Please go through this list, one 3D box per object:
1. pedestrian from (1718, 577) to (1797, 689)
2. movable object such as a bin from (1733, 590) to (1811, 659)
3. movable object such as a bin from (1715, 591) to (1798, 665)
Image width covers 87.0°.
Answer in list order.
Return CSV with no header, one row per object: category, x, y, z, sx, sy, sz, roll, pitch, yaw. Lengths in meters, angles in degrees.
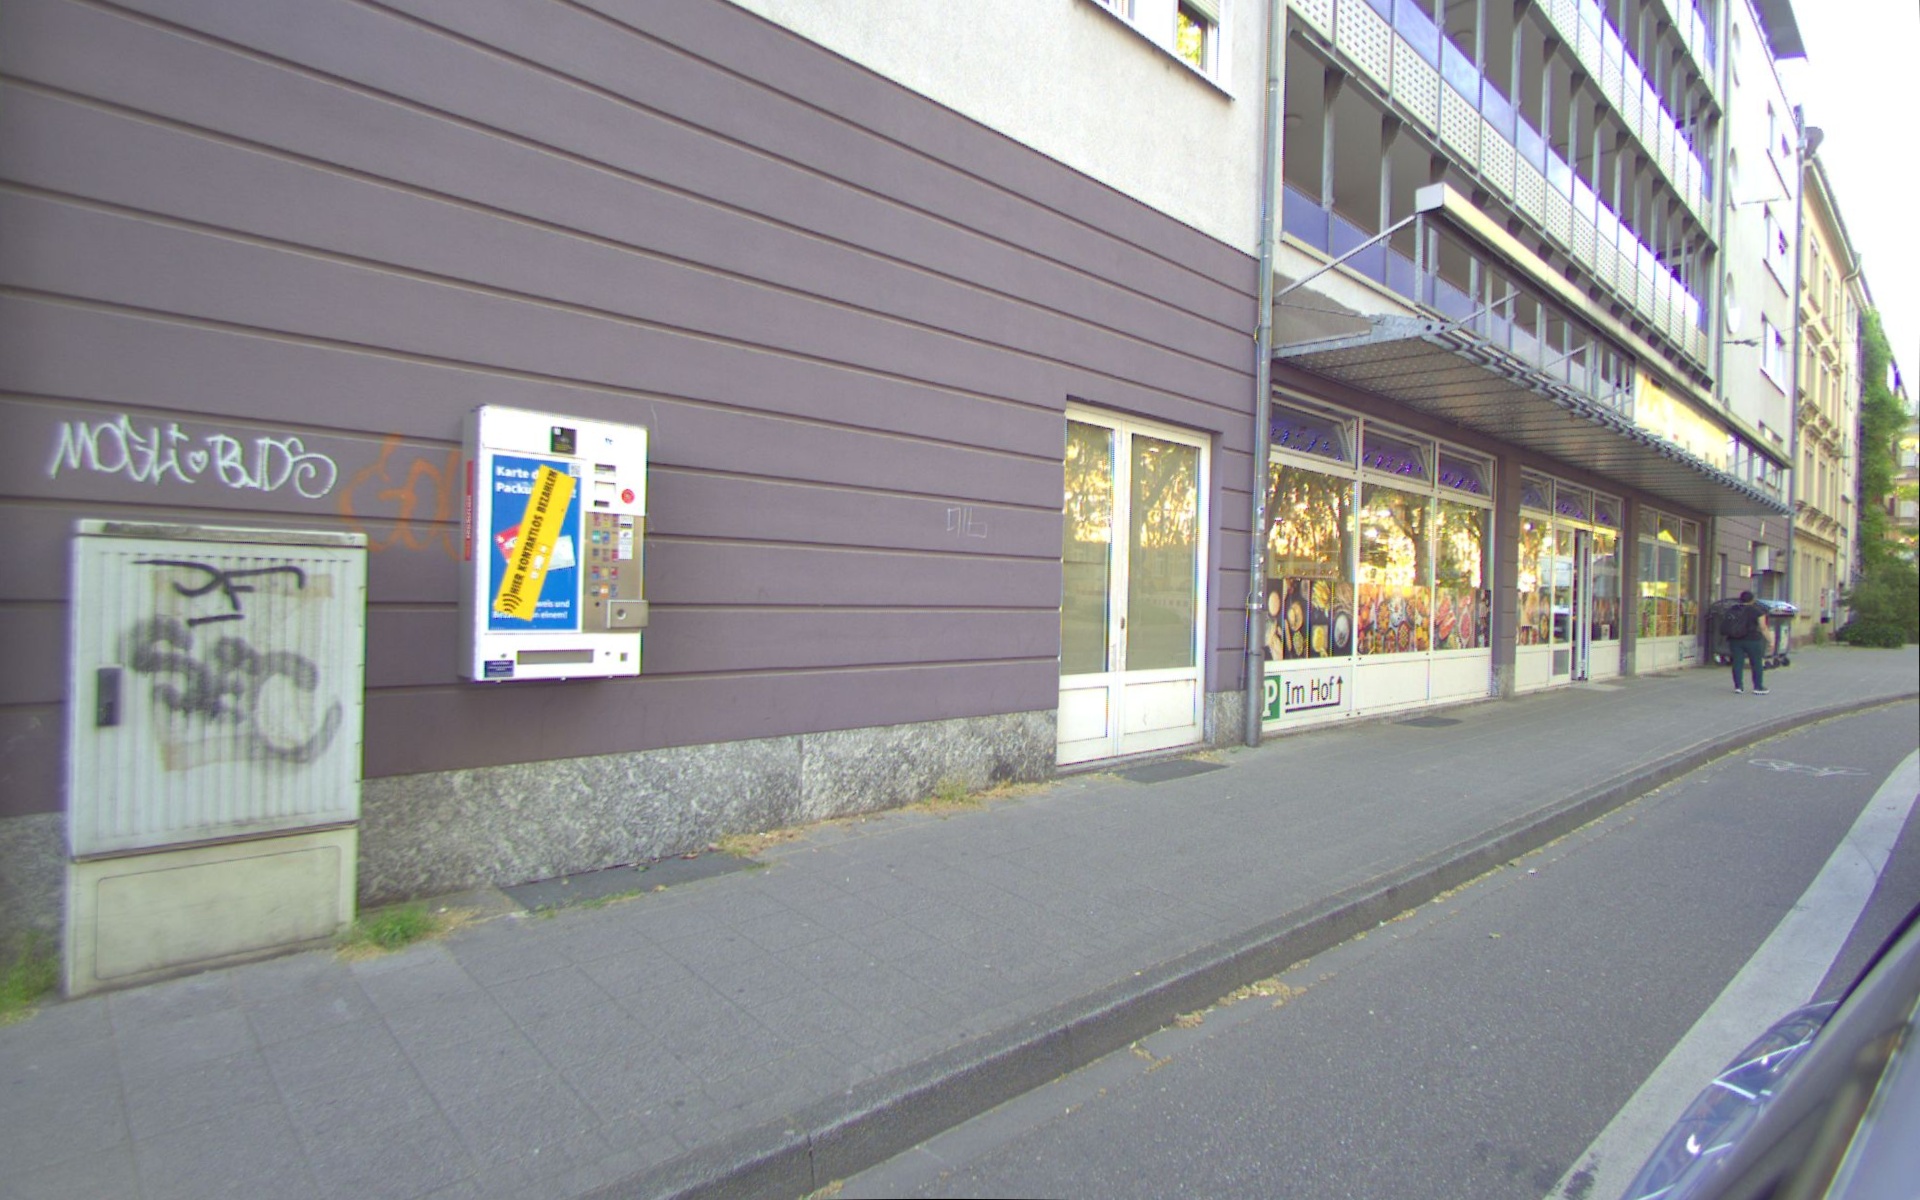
pedestrian,11.977,0.473,15.202,0.862,1.612,0.613,2,1,44
movable object such as a bin,17.774,0.514,22.150,0.923,1.444,1.158,1,1,-40
movable object such as a bin,16.332,0.556,20.754,0.923,1.444,1.158,1,1,-40
